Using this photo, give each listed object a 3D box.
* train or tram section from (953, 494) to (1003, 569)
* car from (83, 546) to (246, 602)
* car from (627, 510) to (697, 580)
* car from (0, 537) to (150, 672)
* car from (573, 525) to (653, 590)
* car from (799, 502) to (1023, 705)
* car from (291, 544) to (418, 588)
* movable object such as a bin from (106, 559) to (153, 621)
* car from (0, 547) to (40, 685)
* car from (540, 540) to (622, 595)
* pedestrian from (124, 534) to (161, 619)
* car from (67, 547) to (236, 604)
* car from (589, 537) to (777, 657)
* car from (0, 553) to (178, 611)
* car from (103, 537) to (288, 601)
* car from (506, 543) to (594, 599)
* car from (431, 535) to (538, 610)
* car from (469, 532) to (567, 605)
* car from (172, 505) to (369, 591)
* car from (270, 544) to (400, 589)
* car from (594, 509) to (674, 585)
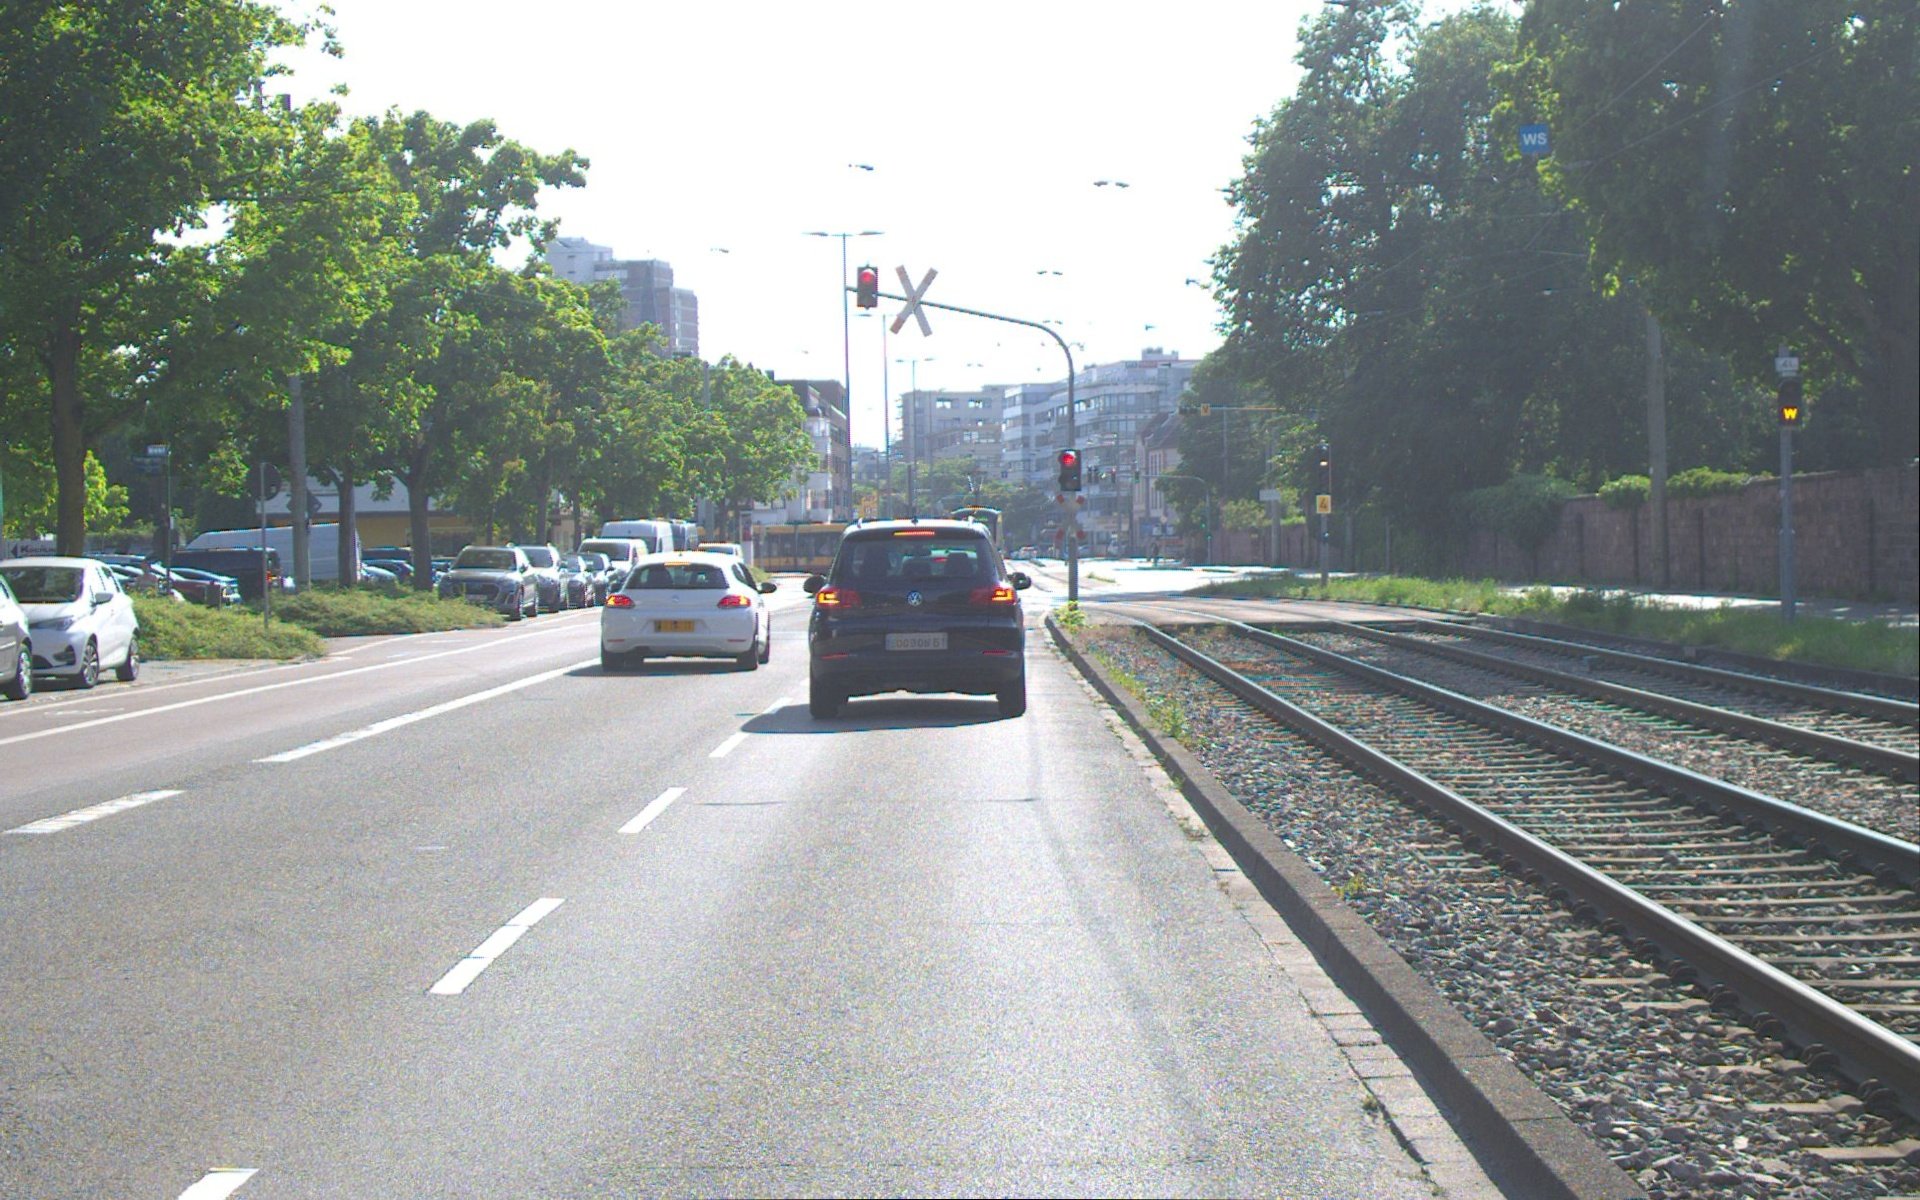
[{"bbox_3d":[0.919,-3.366,169.334,2.326,3.558,8.900,-1,1,1],"label":"train or tram section"},{"bbox_3d":[-21.269,-0.694,92.011,3.986,1.392,1.738,-1,1,-2],"label":"car"},{"bbox_3d":[-10.029,-1.863,115.861,1.732,2.261,4.644,-1,1,2],"label":"car"},{"bbox_3d":[-11.122,0.017,41.907,1.600,1.545,3.895,1,1,0],"label":"car"},{"bbox_3d":[-10.306,-1.296,102.317,1.732,1.853,4.489,-1,1,2],"label":"car"},{"bbox_3d":[-0.367,0.001,29.809,1.811,1.639,4.000,0,1,1],"label":"car"},{"bbox_3d":[-20.341,-1.144,115.536,3.986,1.392,1.738,-1,1,-2],"label":"car"},{"bbox_3d":[-15.727,-0.195,65.141,0.542,1.142,1.261,-1,1,1],"label":"movable object such as a bin"},{"bbox_3d":[-11.035,0.190,36.267,1.677,1.463,3.969,-1,1,-2],"label":"car"},{"bbox_3d":[-10.675,-0.921,97.060,1.732,1.445,3.735,-1,2,2],"label":"car"},{"bbox_3d":[-15.713,-0.452,66.076,0.524,1.622,0.610,-1,1,1],"label":"pedestrian"},{"bbox_3d":[-20.912,-0.643,89.042,3.986,1.392,1.738,-1,1,-2],"label":"car"},{"bbox_3d":[-3.254,-0.073,41.092,1.865,1.343,4.000,0,1,1],"label":"car"},{"bbox_3d":[-21.181,-0.446,83.542,3.986,1.303,1.738,-1,1,-2],"label":"car"},{"bbox_3d":[-20.959,-0.866,94.391,4.617,1.646,2.049,-1,1,-1],"label":"car"},{"bbox_3d":[-10.844,-0.788,91.181,1.732,1.384,3.735,-1,2,2],"label":"car"},{"bbox_3d":[-10.921,-0.651,79.201,1.732,1.652,4.000,-1,1,2],"label":"car"},{"bbox_3d":[-10.872,-0.808,84.868,1.732,1.689,4.000,-1,2,2],"label":"car"},{"bbox_3d":[-20.507,-1.547,102.382,5.375,2.415,2.087,-1,1,1],"label":"car"},{"bbox_3d":[-20.584,-1.103,113.310,3.986,1.392,1.738,-1,1,-2],"label":"car"},{"bbox_3d":[-10.308,-1.691,109.039,1.863,2.339,4.985,-1,1,2],"label":"car"}]
